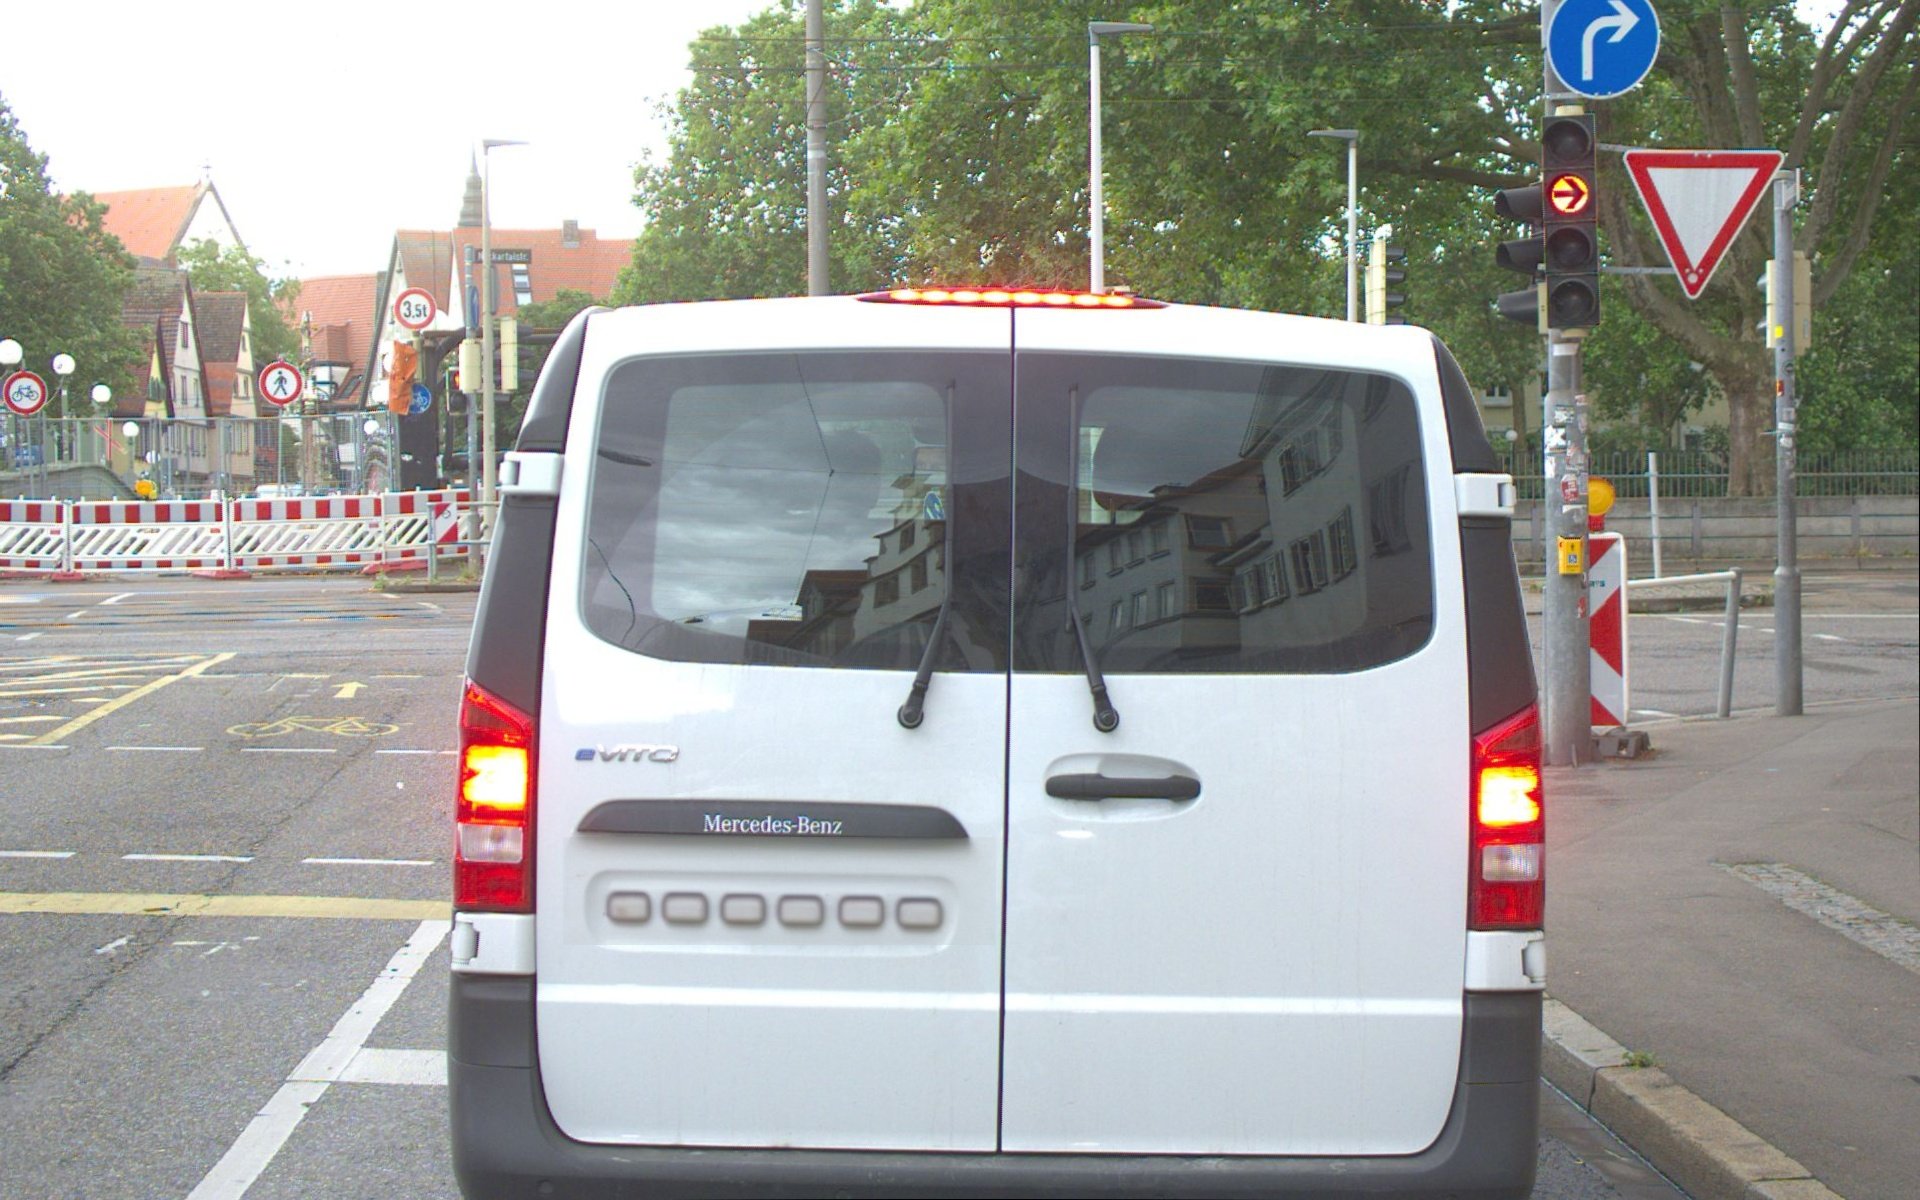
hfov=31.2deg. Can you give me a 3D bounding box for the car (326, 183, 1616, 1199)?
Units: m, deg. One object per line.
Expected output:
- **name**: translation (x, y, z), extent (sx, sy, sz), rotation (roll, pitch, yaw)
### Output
- **car**: translation (-0.016, 0.284, 7.613), extent (1.951, 2.006, 4.699), rotation (1, 2, -1)
